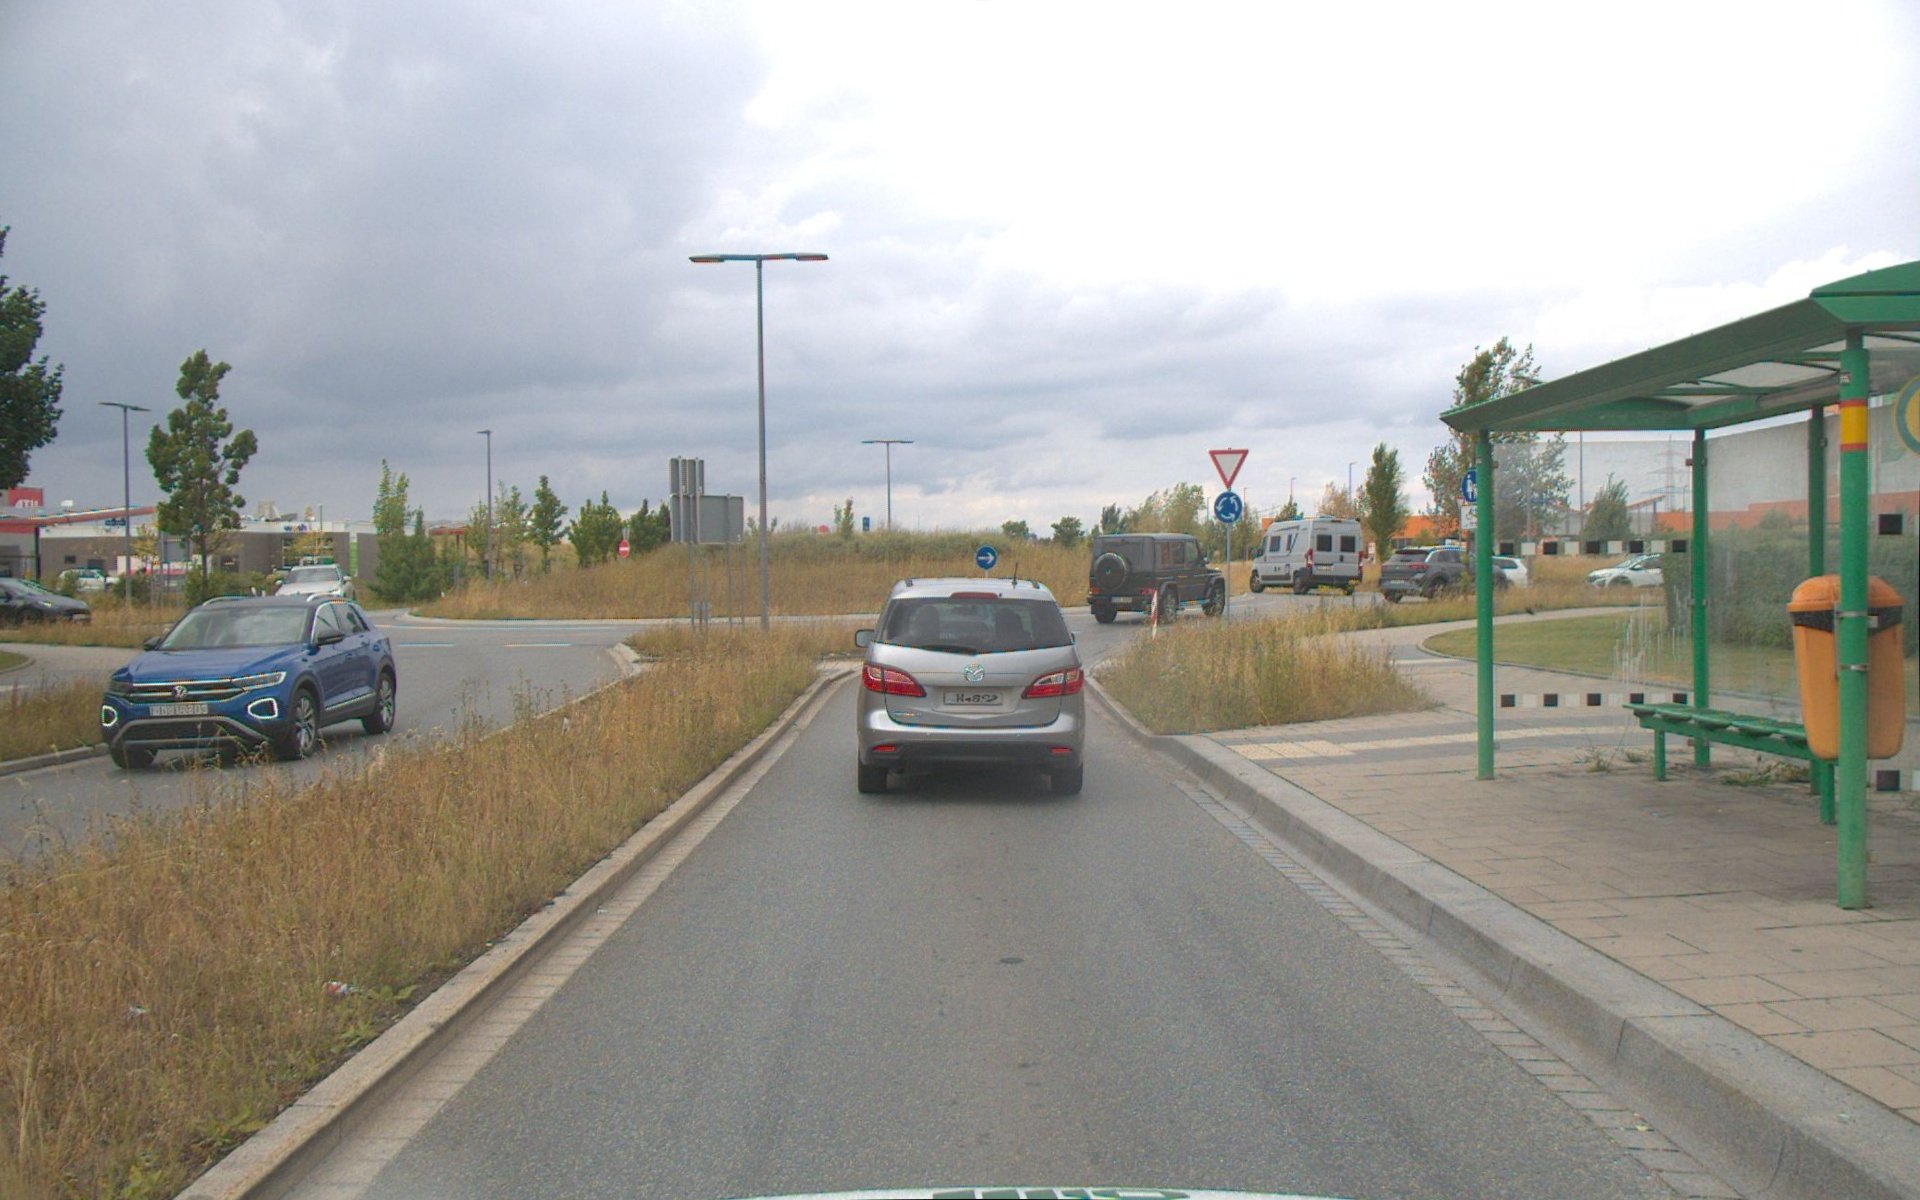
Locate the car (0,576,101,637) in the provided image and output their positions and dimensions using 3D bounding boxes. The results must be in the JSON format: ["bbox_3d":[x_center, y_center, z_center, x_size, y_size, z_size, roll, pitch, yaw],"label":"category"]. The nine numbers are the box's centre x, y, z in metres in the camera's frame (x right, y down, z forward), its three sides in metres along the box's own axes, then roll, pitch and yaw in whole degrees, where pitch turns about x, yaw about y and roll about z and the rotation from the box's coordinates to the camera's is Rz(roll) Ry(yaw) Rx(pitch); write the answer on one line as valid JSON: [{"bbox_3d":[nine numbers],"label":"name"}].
[{"bbox_3d":[-24.580,0.139,43.220,4.316,1.510,1.778,0,1,31],"label":"car"}]

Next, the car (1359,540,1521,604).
[{"bbox_3d":[13.485,-0.787,46.413,4.145,1.620,2.045,-3,1,-29],"label":"car"}]

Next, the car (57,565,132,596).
[{"bbox_3d":[-57.848,-1.311,110.604,3.906,2.049,1.999,0,1,-2],"label":"car"}]

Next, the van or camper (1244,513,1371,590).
[{"bbox_3d":[11.967,-1.631,57.339,2.264,2.549,5.186,0,1,-15],"label":"van or camper"}]

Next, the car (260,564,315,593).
[{"bbox_3d":[-44.640,-1.405,109.893,1.952,1.892,4.000,0,1,0],"label":"car"}]

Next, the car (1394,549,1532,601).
[{"bbox_3d":[17.915,-0.884,59.070,4.503,1.788,2.002,0,0,10],"label":"car"}]

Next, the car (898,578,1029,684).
[{"bbox_3d":[0.088,0.408,25.229,1.806,1.443,4.225,-1,1,1],"label":"car"}]

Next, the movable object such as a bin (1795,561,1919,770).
[{"bbox_3d":[3.683,0.253,6.653,0.446,0.812,0.380,-1,0,-1],"label":"movable object such as a bin"}]

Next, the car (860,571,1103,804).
[{"bbox_3d":[0.101,0.581,13.482,1.695,1.628,3.806,0,1,-2],"label":"car"}]

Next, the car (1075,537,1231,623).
[{"bbox_3d":[4.544,-0.451,38.271,2.018,1.857,4.780,0,0,27],"label":"car"}]

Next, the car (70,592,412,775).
[{"bbox_3d":[-7.149,0.744,16.967,1.805,1.555,4.225,-3,0,-3],"label":"car"}]

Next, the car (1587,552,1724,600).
[{"bbox_3d":[24.606,-0.831,58.607,4.013,1.632,2.001,0,0,2],"label":"car"}]

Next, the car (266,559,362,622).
[{"bbox_3d":[-18.778,-0.285,48.245,1.992,1.720,4.200,-1,0,-13],"label":"car"}]
